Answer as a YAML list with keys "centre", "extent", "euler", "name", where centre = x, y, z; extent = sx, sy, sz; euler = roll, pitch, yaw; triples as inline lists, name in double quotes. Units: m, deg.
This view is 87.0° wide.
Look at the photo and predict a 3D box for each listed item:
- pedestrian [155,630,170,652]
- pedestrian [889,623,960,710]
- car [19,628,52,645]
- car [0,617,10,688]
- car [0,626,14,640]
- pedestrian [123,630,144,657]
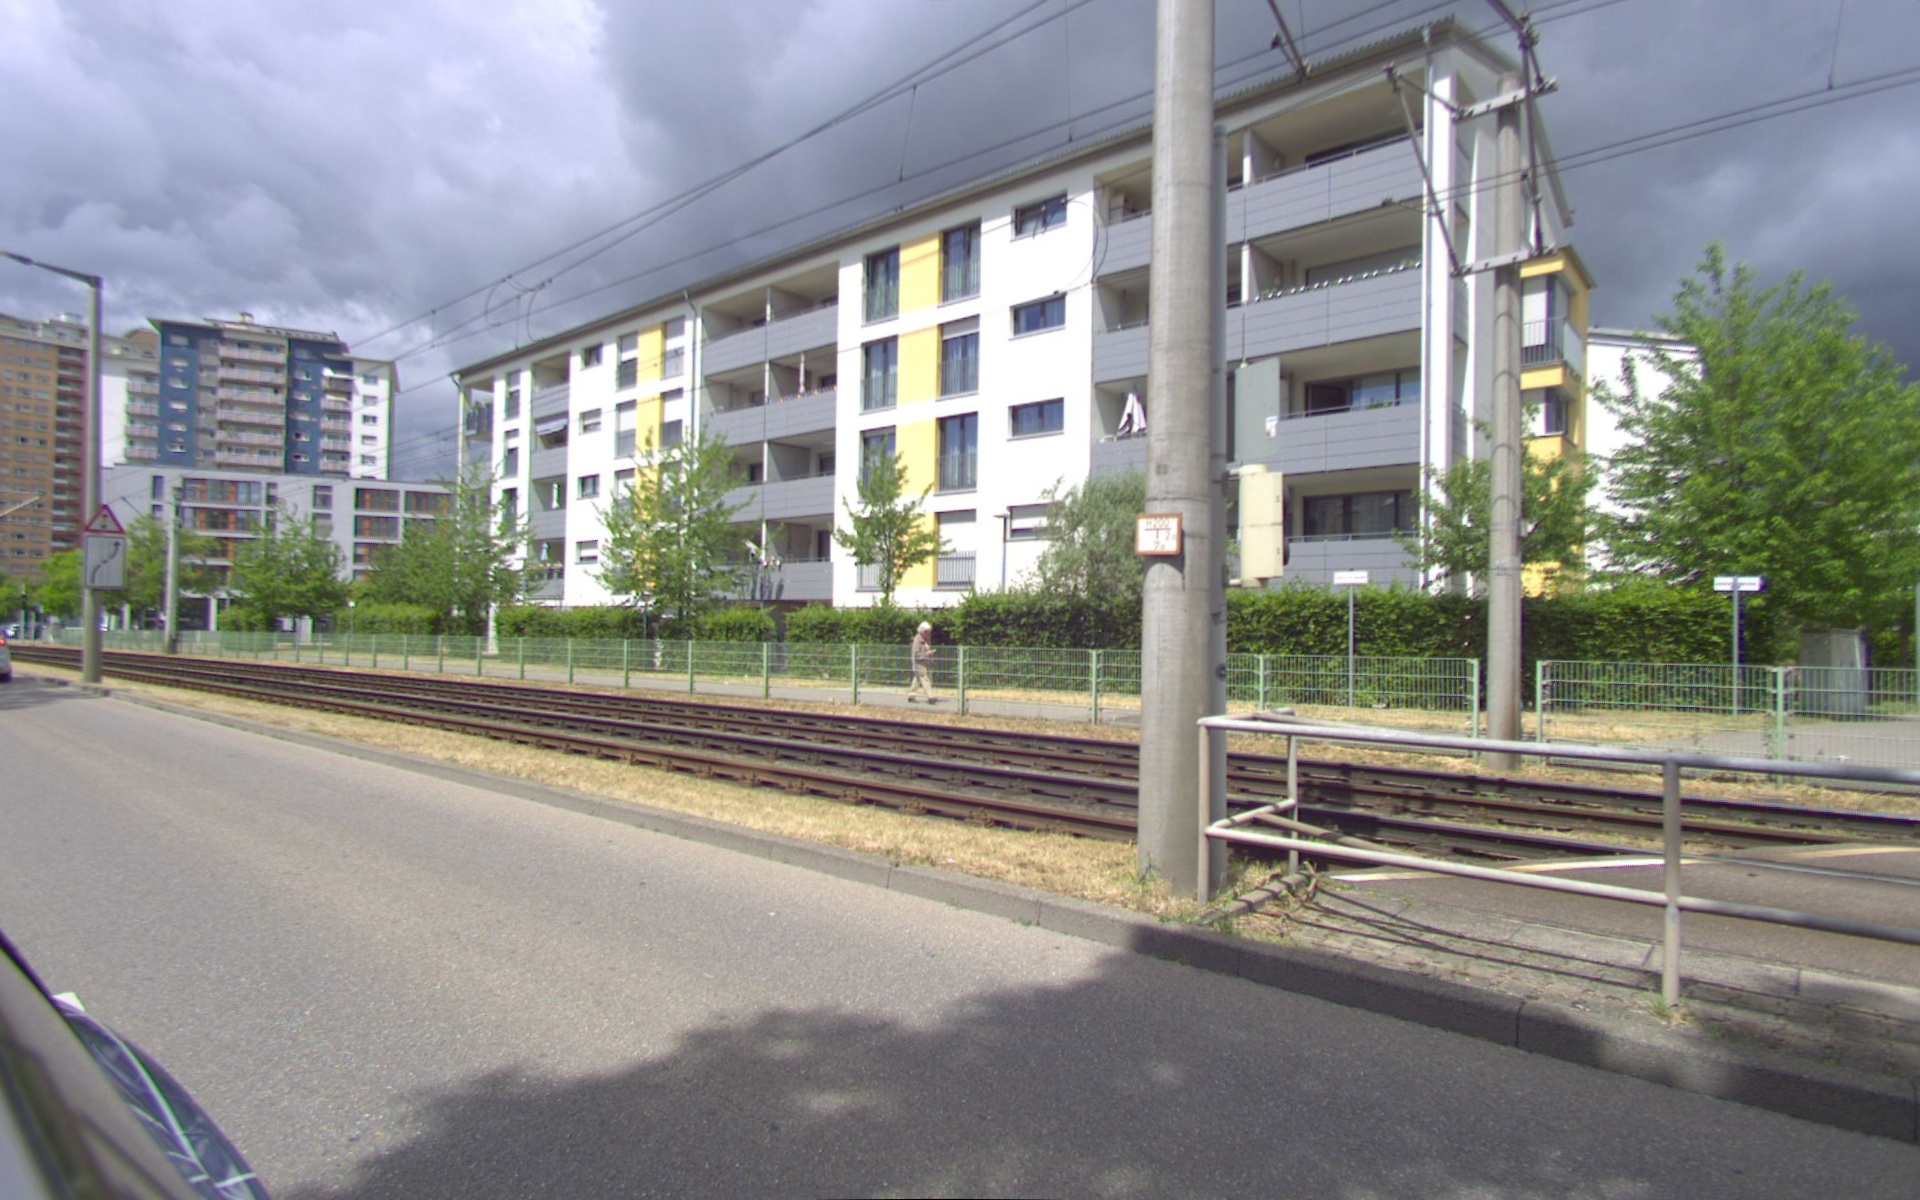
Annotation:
- centre: [-60.868, 3.151, 77.229]
  extent: [0.537, 1.666, 0.740]
  euler: [-1, -2, 40]
  name: "pedestrian"
- centre: [-0.632, 1.159, 18.014]
  extent: [0.995, 1.494, 0.788]
  euler: [-1, -2, 40]
  name: "pedestrian"
- centre: [-86.475, 3.386, 94.661]
  extent: [3.801, 1.551, 1.869]
  euler: [-1, -2, 41]
  name: "car"
- centre: [-24.397, 1.253, 24.322]
  extent: [4.598, 1.626, 1.798]
  euler: [-1, -1, 40]
  name: "car"
- centre: [-115.168, 3.927, 121.504]
  extent: [3.800, 1.672, 1.759]
  euler: [-1, -2, 39]
  name: "car"
- centre: [-49.652, 2.602, 60.792]
  extent: [0.937, 1.625, 0.747]
  euler: [-1, -2, 39]
  name: "pedestrian"
